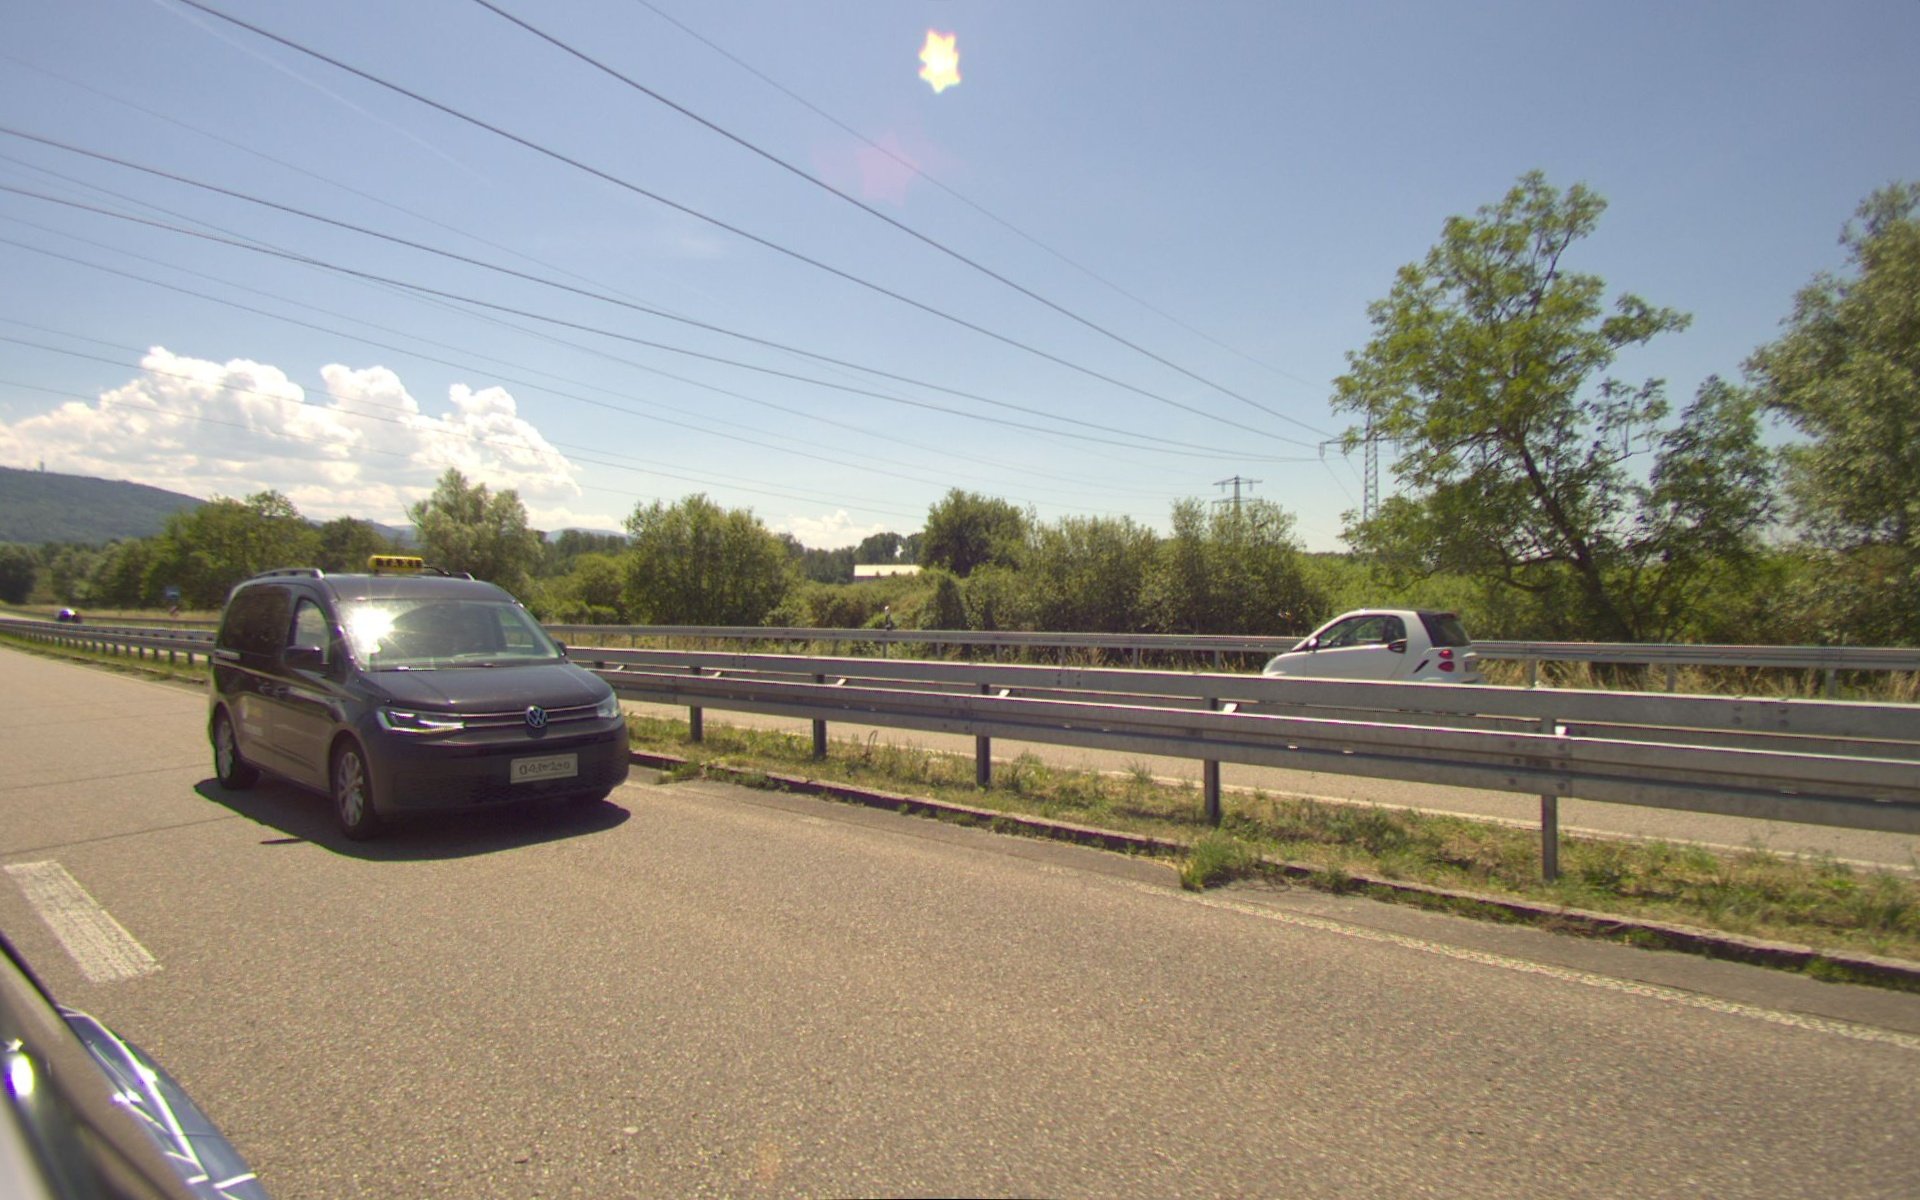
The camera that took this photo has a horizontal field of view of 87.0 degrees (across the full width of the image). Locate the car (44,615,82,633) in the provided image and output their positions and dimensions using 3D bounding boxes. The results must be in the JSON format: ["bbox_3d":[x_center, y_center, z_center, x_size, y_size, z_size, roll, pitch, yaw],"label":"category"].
[{"bbox_3d":[-75.310,1.968,84.932,4.679,1.423,1.825,-1,0,42],"label":"car"}]

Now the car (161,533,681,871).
[{"bbox_3d":[-4.662,0.595,8.220,5.569,1.901,1.835,0,-1,41],"label":"car"}]

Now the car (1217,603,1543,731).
[{"bbox_3d":[5.465,0.797,13.421,3.699,1.460,1.517,-1,0,41],"label":"car"}]
